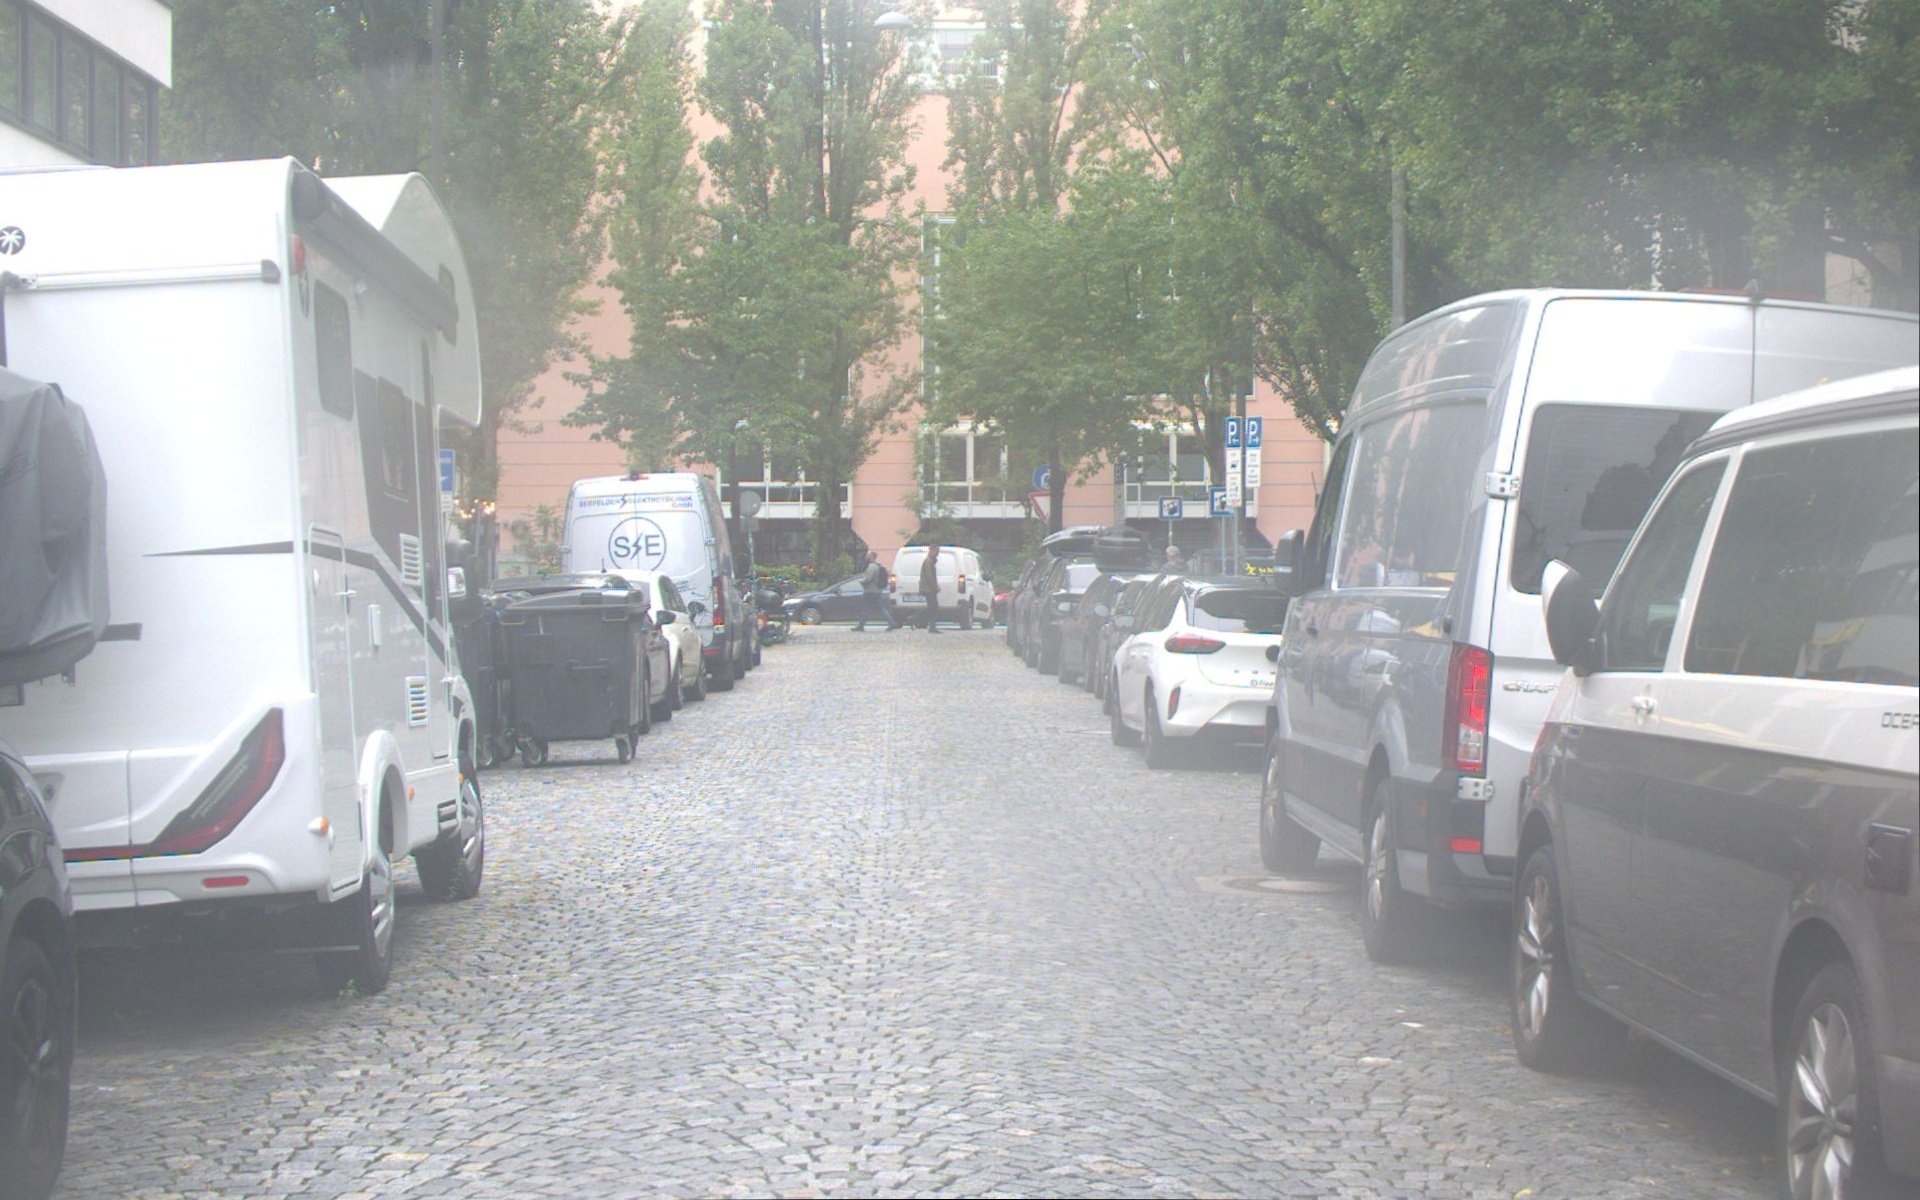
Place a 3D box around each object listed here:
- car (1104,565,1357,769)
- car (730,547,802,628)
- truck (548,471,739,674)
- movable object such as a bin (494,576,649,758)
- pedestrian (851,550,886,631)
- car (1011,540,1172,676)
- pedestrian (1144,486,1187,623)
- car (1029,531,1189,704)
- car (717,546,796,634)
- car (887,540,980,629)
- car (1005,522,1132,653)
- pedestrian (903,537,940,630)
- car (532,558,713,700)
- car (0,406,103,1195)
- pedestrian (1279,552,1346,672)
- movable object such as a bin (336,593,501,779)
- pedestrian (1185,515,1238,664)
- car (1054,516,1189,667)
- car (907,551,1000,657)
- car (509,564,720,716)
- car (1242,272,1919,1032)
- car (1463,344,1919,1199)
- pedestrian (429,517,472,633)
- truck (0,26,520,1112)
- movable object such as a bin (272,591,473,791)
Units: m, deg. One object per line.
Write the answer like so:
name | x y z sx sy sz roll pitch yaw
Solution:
car | 2.050 0.484 26.843 1.599 1.481 3.479 1 0 -1
car | -3.781 -0.243 67.353 1.276 1.536 3.119 1 0 -1
truck | -3.799 -0.324 41.916 1.993 2.339 4.068 1 0 -1
movable object such as a bin | -2.986 0.504 26.560 1.064 1.359 1.289 1 0 -1
pedestrian | -1.927 -0.199 72.336 0.687 1.681 0.500 1 0 -6
car | 1.581 0.087 42.342 1.868 1.599 3.272 0 0 0
pedestrian | 3.651 -0.806 61.049 0.711 2.417 0.813 0 0 1
car | 1.511 0.172 35.717 1.470 1.700 3.119 1 0 -1
car | -3.674 -0.183 62.469 1.290 1.534 3.119 1 0 -1
car | -0.569 -0.341 76.711 1.996 1.929 4.000 0 0 0
car | 1.640 -0.191 53.259 1.868 1.954 4.000 0 0 0
pedestrian | -0.801 -0.341 70.954 0.725 1.904 0.641 1 0 1
car | -3.624 0.296 37.428 1.662 1.450 3.548 1 0 -1
car | -3.032 0.465 6.566 1.894 1.745 4.168 -1 1 -3
pedestrian | 5.091 0.176 49.664 0.791 1.714 0.856 1 0 -6
movable object such as a bin | -4.069 0.633 25.936 1.073 1.359 1.273 1 0 -2
pedestrian | 3.727 -0.156 50.956 0.711 2.184 0.813 1 0 1
car | 2.225 -0.113 48.187 1.743 2.024 3.865 0 0 0
car | -0.120 0.060 56.621 1.470 1.700 3.119 1 0 -1
car | -3.175 0.348 32.137 1.662 1.325 3.548 1 0 -1
car | 2.500 0.131 14.214 1.895 2.418 5.611 4 1 -2
car | 2.611 0.523 8.518 1.800 1.943 4.860 3 0 -2
pedestrian | -8.233 -0.402 55.558 0.603 1.871 0.548 1 0 -1
truck | -3.240 -0.114 12.812 2.508 3.021 6.385 -2 1 -2
movable object such as a bin | -4.126 0.626 24.246 1.234 1.359 1.111 0 1 -1
